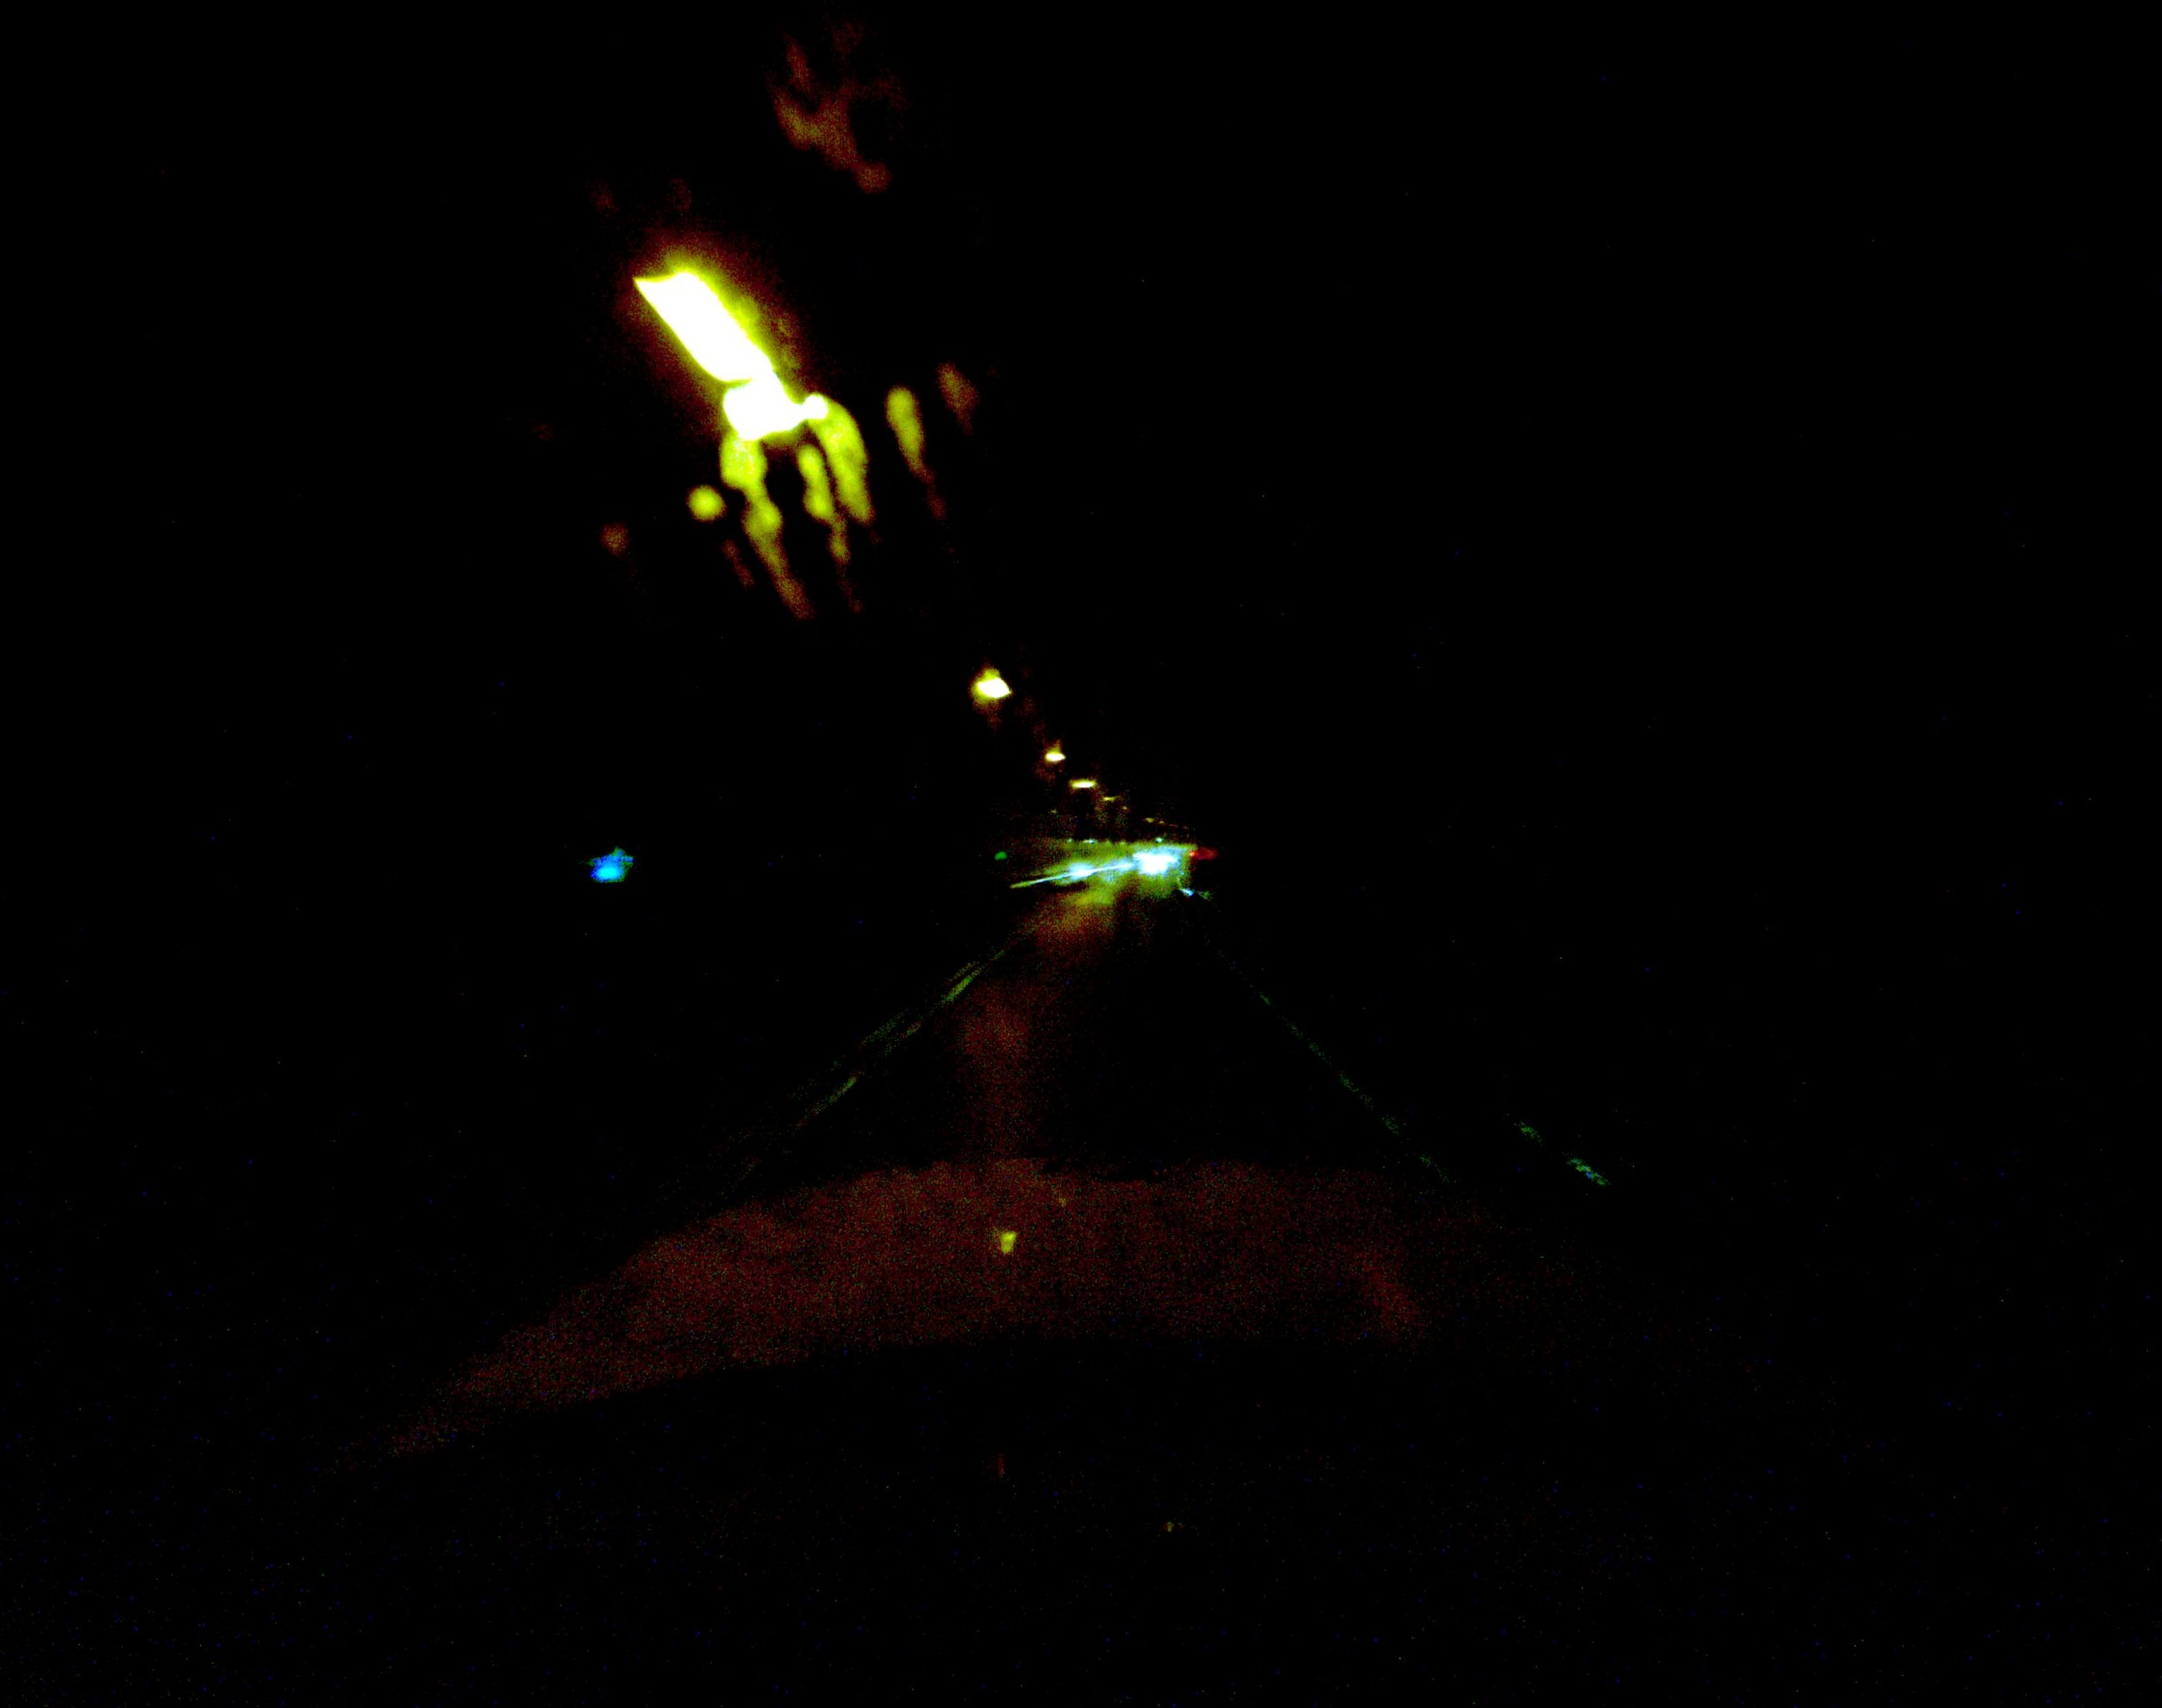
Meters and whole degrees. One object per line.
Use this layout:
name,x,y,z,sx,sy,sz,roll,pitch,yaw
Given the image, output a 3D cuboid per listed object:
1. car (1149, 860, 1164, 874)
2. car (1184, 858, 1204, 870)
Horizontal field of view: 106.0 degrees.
car,9.084,1.551,97.499,1.700,1.510,4.087,1,0,7
car,15.833,1.371,113.765,1.977,1.650,4.019,1,0,19
